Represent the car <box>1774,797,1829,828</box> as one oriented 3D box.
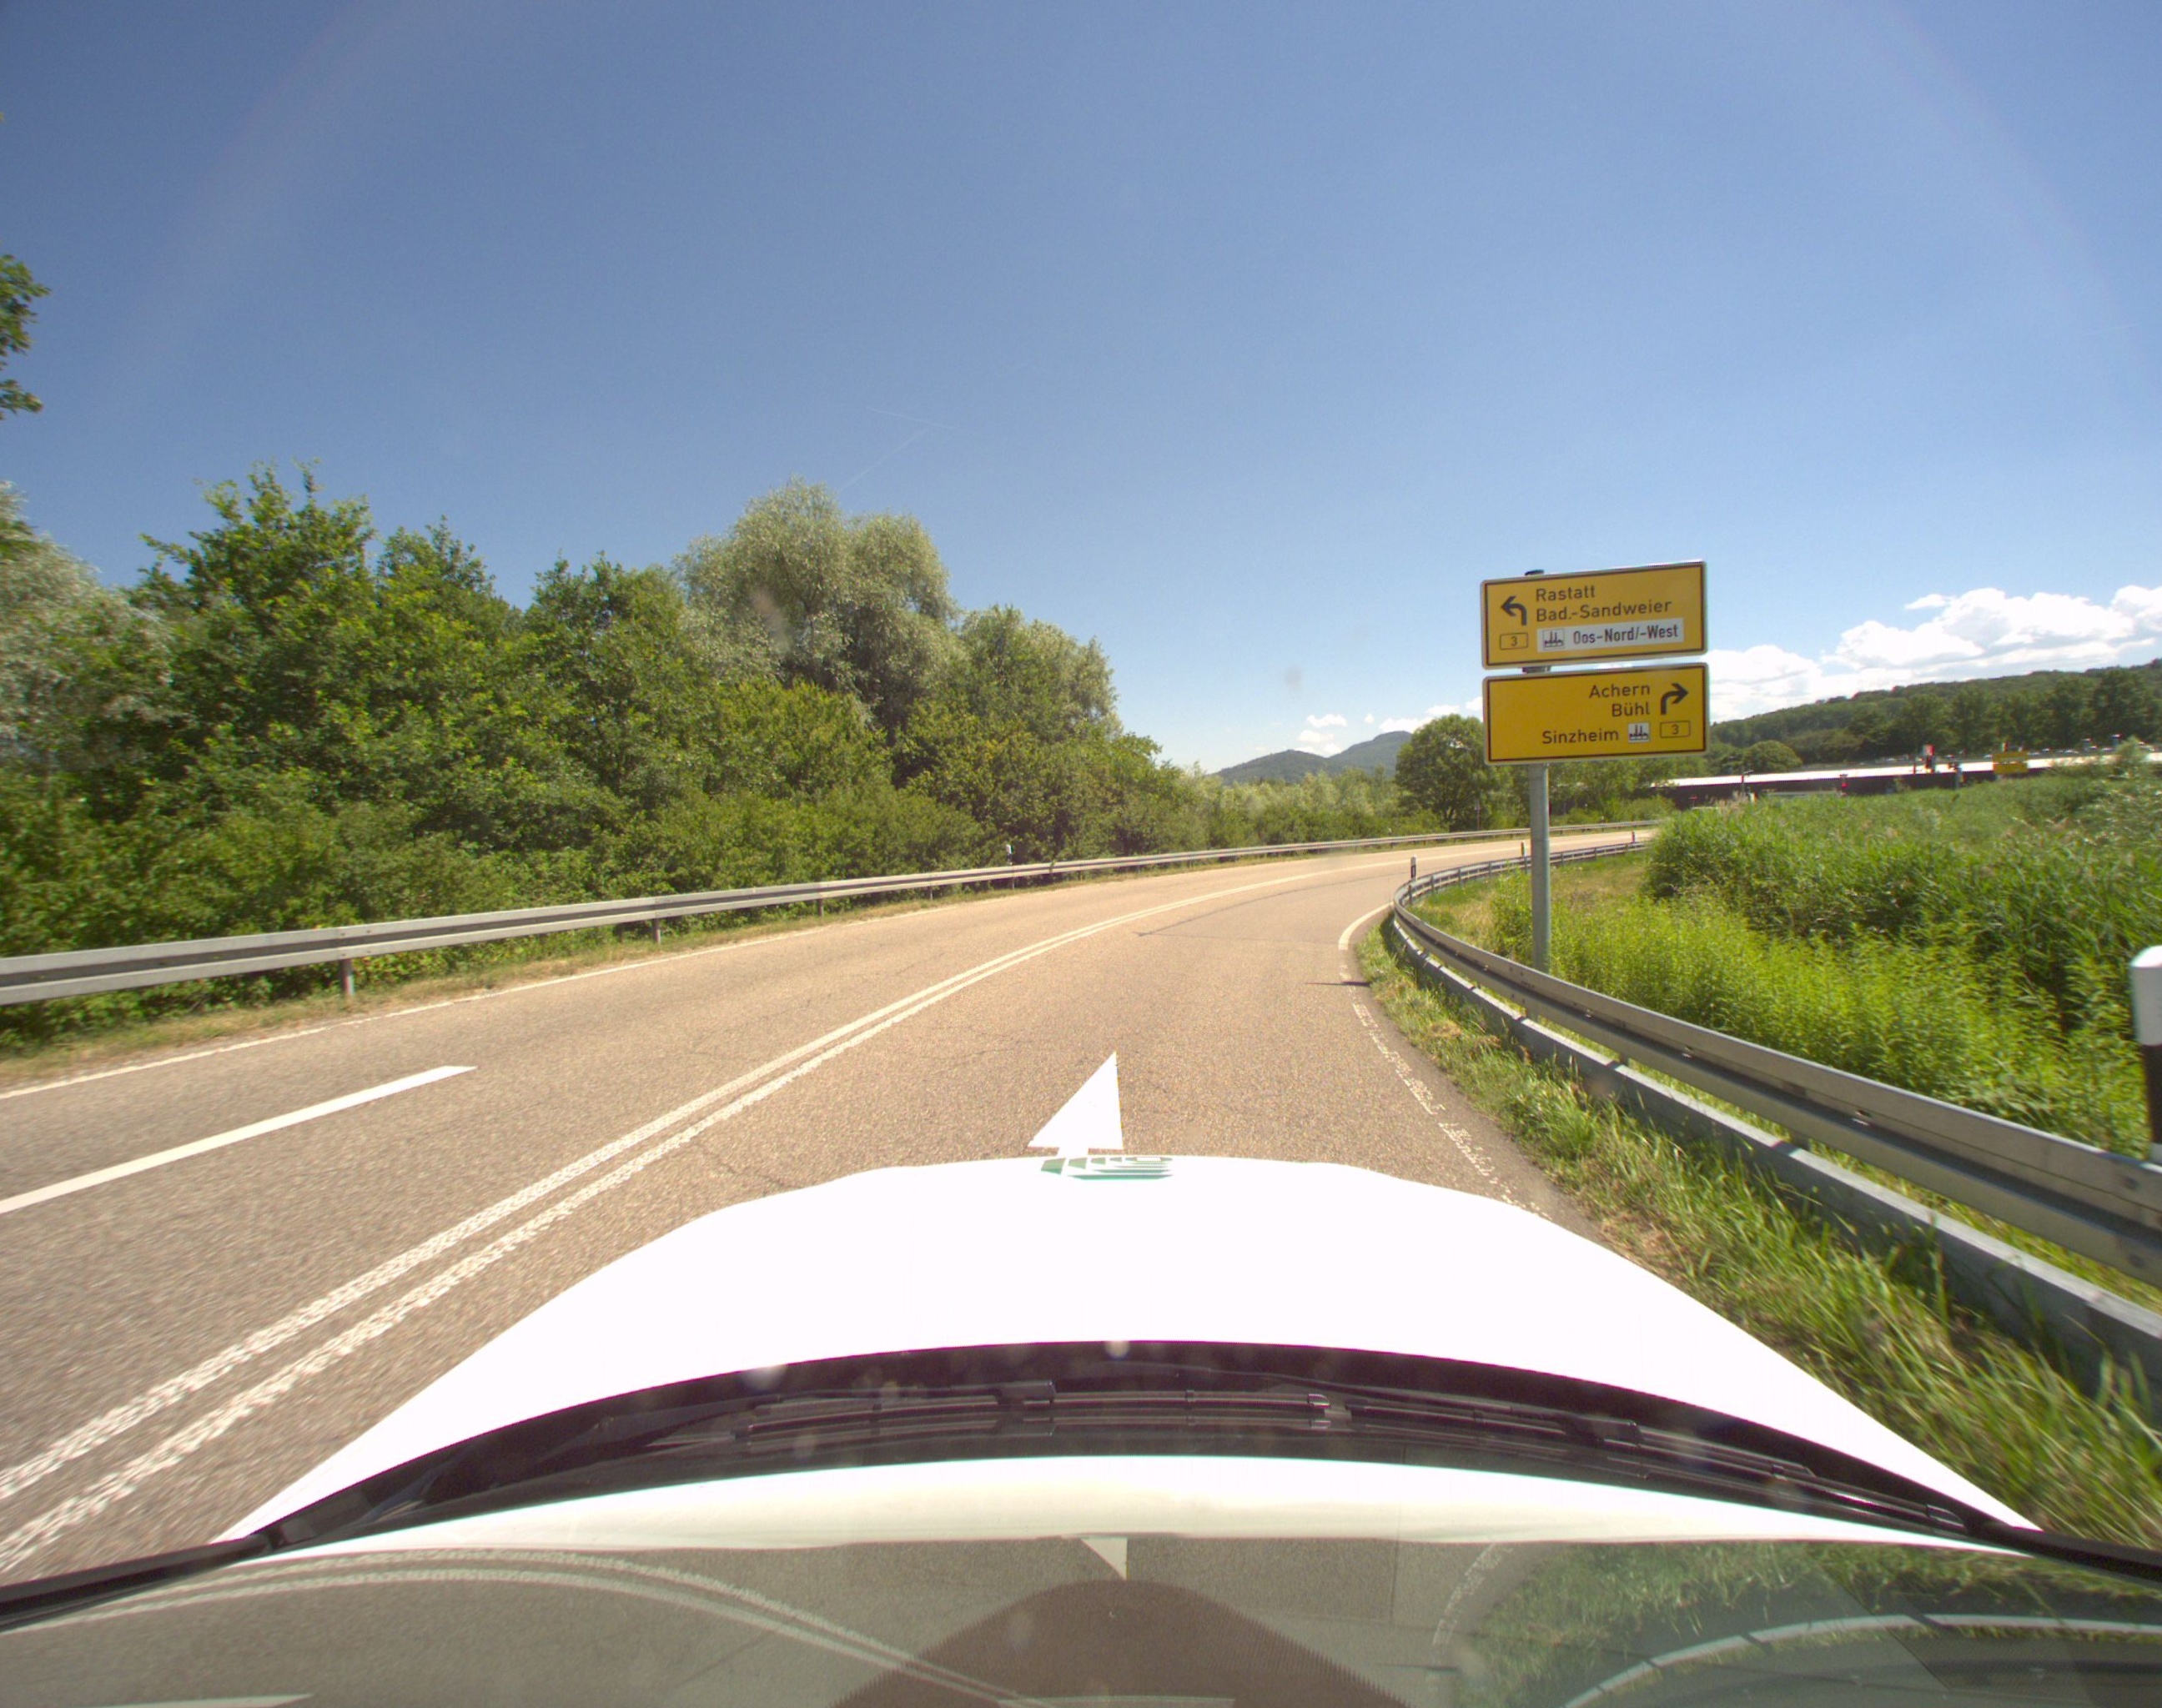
[{"bbox_3d":[47.797,-2.751,54.020,4.017,1.964,1.857,-3,3,-35],"label":"car"}]
